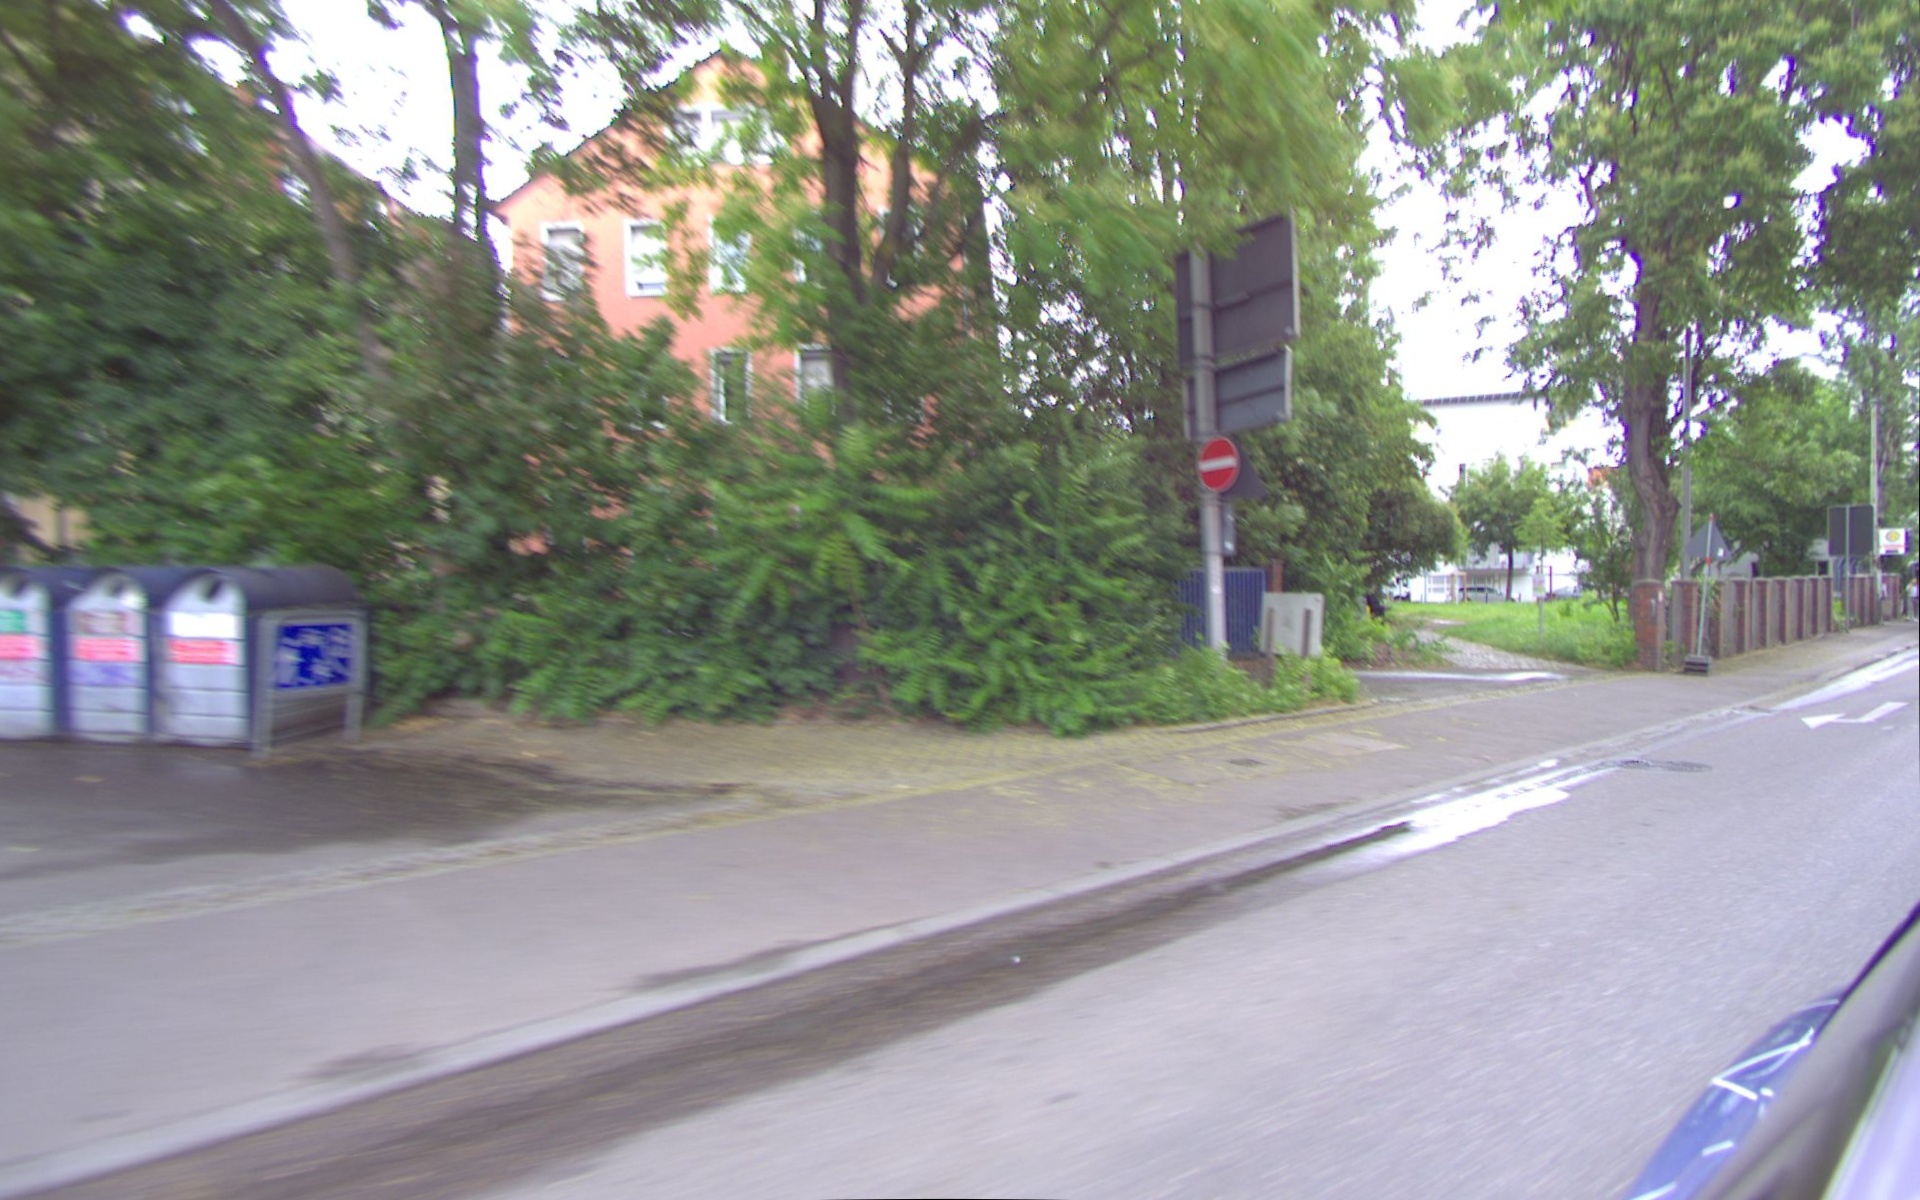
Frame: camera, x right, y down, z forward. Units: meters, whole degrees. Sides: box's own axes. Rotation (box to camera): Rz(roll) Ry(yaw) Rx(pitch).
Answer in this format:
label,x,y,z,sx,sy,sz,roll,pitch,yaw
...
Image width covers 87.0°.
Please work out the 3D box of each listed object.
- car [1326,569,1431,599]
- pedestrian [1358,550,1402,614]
label,x,y,z,sx,sy,sz,roll,pitch,yaw
car,24.143,-0.895,58.444,5.504,1.608,1.983,0,3,26
pedestrian,13.735,-0.609,33.079,1.126,2.038,1.238,1,2,33
